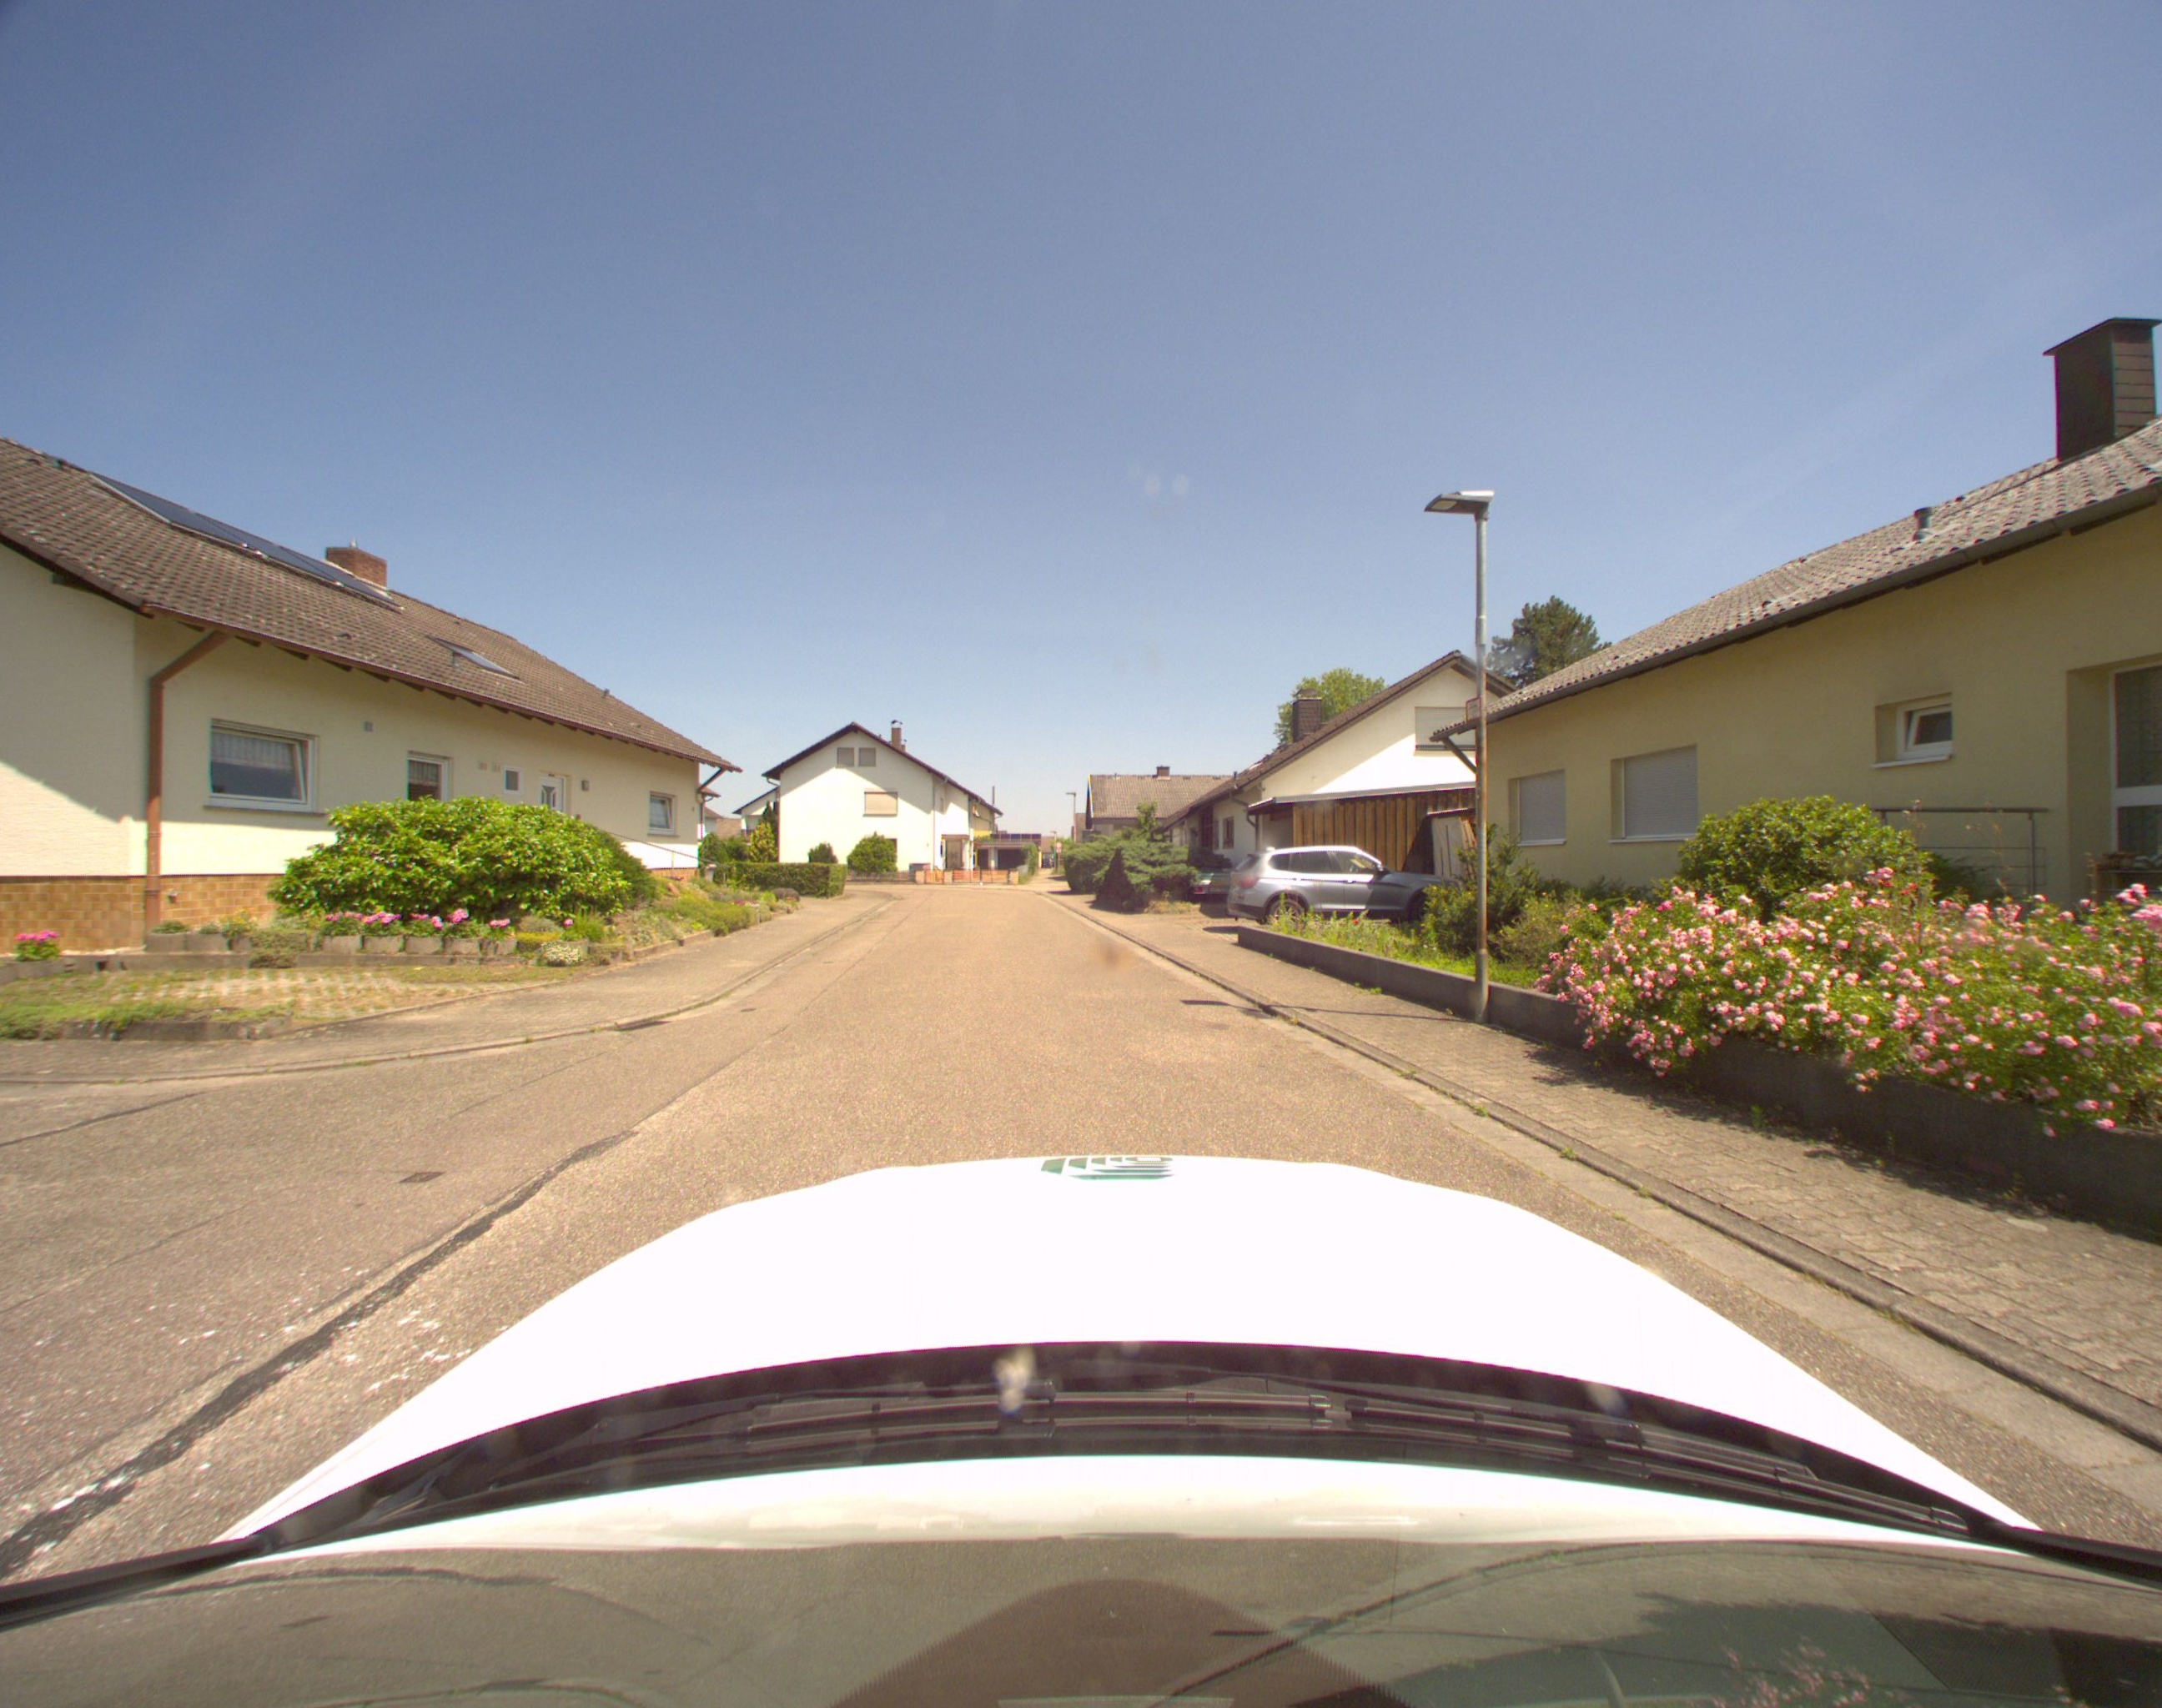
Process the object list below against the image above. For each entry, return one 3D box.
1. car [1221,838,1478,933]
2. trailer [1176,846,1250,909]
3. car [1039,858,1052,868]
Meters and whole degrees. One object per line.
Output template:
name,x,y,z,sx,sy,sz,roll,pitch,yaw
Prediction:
car,5.300,0.610,16.493,4.610,1.702,1.710,-2,-1,1
trailer,3.820,0.638,24.038,1.582,1.672,3.295,-2,0,-1
car,-6.141,1.518,141.806,2.187,1.701,3.805,0,0,-1
